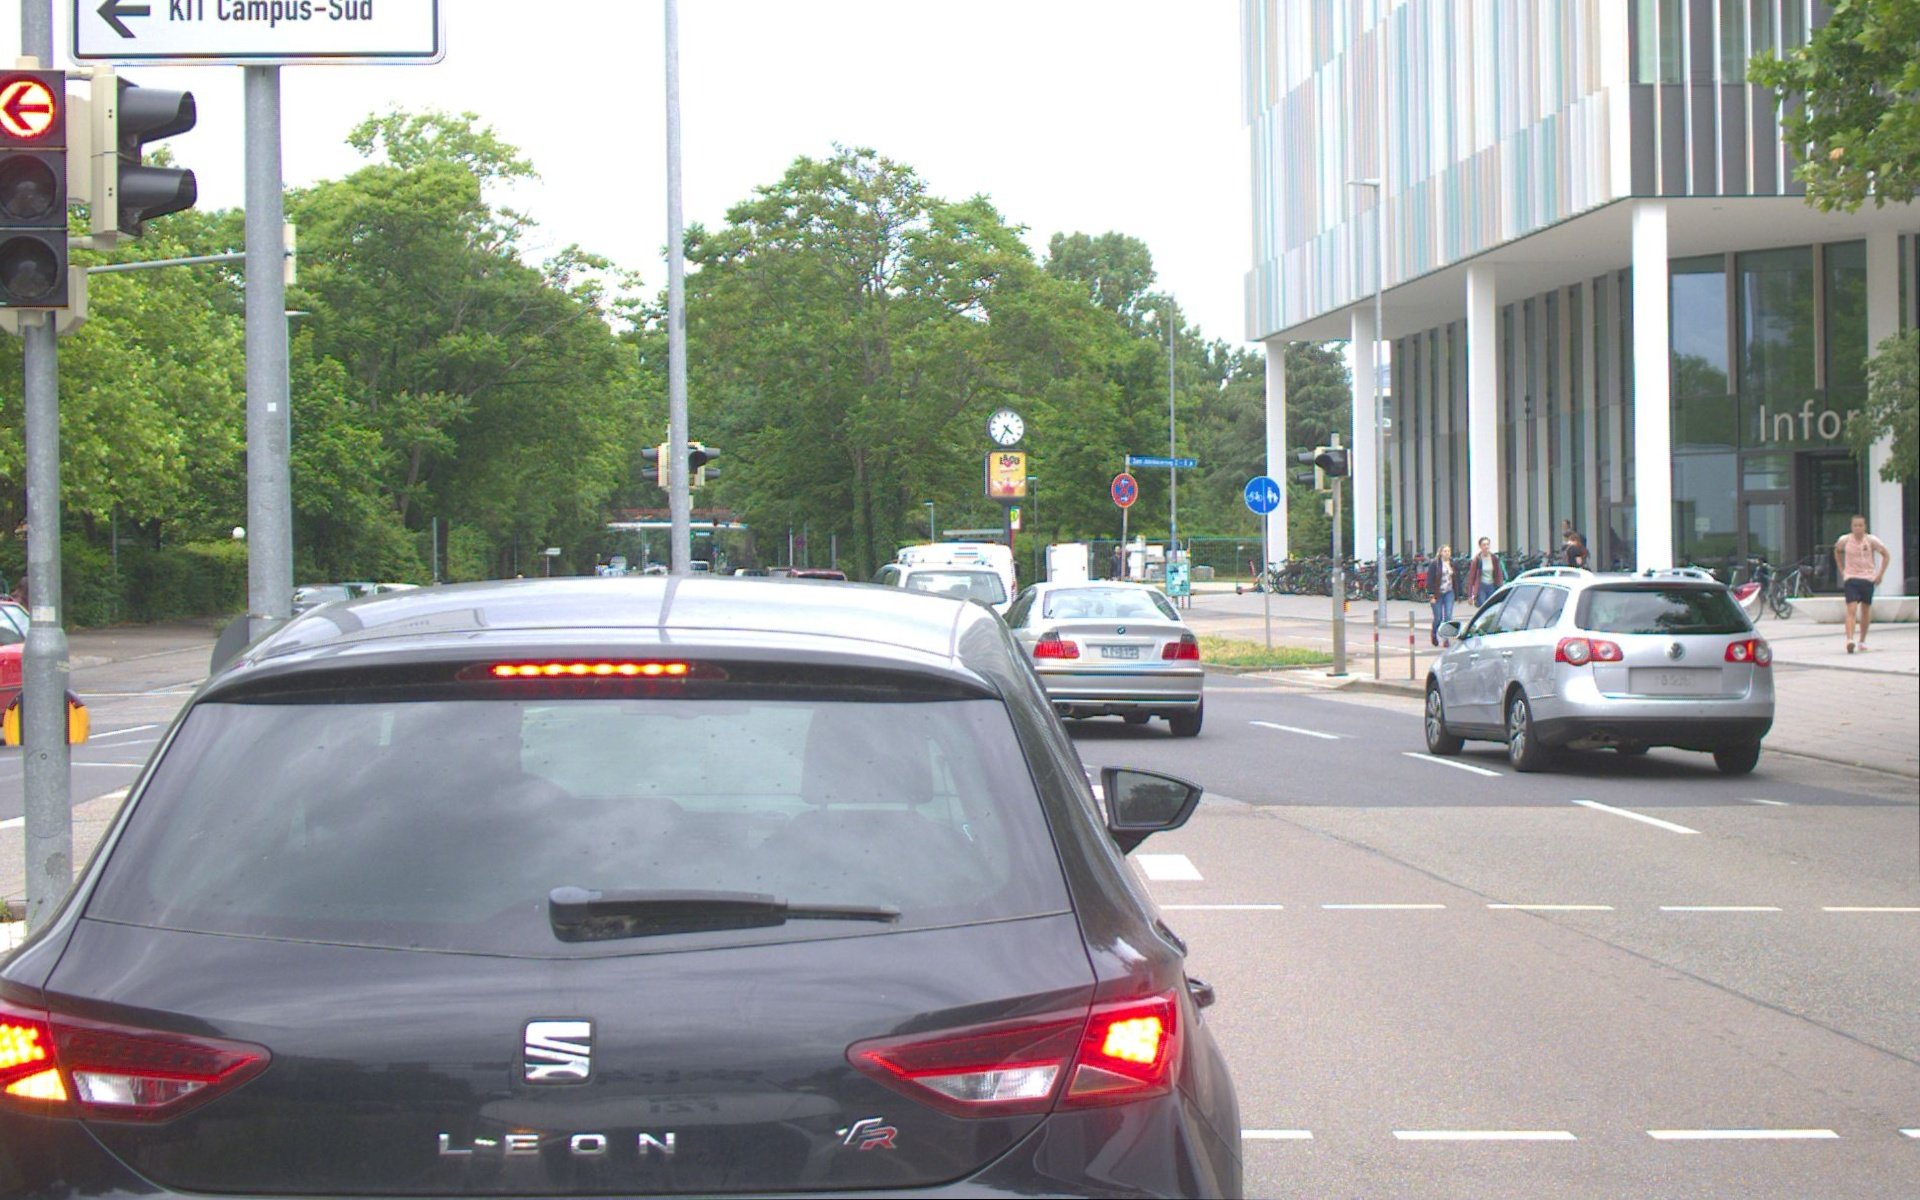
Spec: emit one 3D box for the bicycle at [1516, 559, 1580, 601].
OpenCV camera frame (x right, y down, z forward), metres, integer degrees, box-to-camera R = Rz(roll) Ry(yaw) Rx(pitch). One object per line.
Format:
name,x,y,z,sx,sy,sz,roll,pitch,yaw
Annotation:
bicycle,13.011,-0.442,76.030,1.438,0.855,0.365,-3,1,-27

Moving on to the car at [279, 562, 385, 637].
car,-15.741,-0.036,86.319,1.906,1.711,4.000,-2,1,-1

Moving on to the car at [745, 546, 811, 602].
car,-5.788,-0.844,109.209,1.914,1.658,4.115,-2,1,-4

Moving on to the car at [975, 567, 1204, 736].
car,1.141,0.428,32.186,1.722,1.409,4.246,0,1,-4

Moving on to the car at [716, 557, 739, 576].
car,-15.861,-2.319,234.868,1.505,1.189,3.163,-2,1,-4

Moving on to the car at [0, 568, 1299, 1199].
car,-0.447,0.687,5.738,1.753,1.427,3.769,1,1,2

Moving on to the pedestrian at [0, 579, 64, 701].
pedestrian,-12.491,0.532,45.917,0.874,1.581,0.543,-2,1,-7

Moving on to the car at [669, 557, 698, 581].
car,-18.530,-2.109,230.401,1.695,1.498,4.011,-2,1,-7

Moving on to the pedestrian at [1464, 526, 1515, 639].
pedestrian,8.386,-0.287,54.440,0.687,1.775,0.677,-1,1,-1

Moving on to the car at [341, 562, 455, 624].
car,-15.759,-0.216,96.532,1.759,1.582,3.998,-2,1,12

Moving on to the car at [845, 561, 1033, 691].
car,-0.326,0.293,44.843,1.729,1.597,4.107,0,1,-11

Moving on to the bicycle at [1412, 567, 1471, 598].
bicycle,11.856,-0.429,84.617,1.374,0.703,0.416,-2,1,2

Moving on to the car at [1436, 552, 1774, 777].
car,4.812,0.459,26.230,1.825,1.545,4.527,1,0,2

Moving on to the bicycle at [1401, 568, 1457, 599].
bicycle,11.730,-0.418,85.997,1.375,0.703,0.489,-2,1,8

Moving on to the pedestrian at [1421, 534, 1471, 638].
pedestrian,7.689,-0.226,54.388,0.687,1.634,0.633,0,1,-1

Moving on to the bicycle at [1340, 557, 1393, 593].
bicycle,10.847,-0.670,91.780,1.387,0.938,0.487,-1,1,7

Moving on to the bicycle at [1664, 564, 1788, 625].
bicycle,12.519,-0.094,56.201,1.886,0.895,0.697,-3,1,-21

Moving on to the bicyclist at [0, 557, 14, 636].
bicyclist,-20.004,-0.077,71.493,0.491,1.619,0.588,1,2,-1

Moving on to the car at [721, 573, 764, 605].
car,-10.110,-0.520,159.535,1.898,1.349,3.883,-2,1,-4

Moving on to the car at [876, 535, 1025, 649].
car,-0.219,-0.173,62.255,1.966,1.965,4.345,1,1,-10

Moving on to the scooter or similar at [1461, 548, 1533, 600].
scooter or similar,12.236,-0.596,78.313,1.671,1.103,0.499,-3,1,-32

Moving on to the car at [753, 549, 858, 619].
car,-3.826,-0.407,84.645,1.948,1.618,3.750,0,2,-12

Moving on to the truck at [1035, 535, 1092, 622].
truck,2.781,-0.600,92.831,1.317,2.235,3.402,-2,1,-1

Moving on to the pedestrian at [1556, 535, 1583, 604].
pedestrian,12.183,-0.606,68.720,0.472,1.357,0.445,-2,1,10

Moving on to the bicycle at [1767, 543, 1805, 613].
bicycle,15.473,-0.419,64.396,0.526,1.248,1.664,-2,1,18

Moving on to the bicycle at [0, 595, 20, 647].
bicycle,-20.012,0.433,71.517,0.488,1.002,1.590,1,2,-1

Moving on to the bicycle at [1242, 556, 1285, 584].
bicycle,9.633,-0.948,108.973,1.258,0.845,0.482,2,0,-22

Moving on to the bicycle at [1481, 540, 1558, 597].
bicycle,12.650,-0.715,77.734,1.772,1.207,0.570,-3,1,-34

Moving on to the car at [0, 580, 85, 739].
car,-9.667,0.593,31.818,1.714,1.413,4.294,-2,1,4

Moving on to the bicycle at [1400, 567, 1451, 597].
bicycle,11.768,-0.450,86.889,1.240,0.703,0.489,-2,1,8

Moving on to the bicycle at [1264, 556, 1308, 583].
bicycle,10.135,-0.947,106.865,1.234,0.820,0.482,1,0,-22

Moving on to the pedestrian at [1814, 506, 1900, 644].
pedestrian,11.713,-0.332,44.901,0.847,1.759,0.768,-2,1,-1

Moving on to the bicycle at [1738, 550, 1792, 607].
bicycle,15.739,-0.432,67.189,0.620,1.042,1.703,-2,1,26
